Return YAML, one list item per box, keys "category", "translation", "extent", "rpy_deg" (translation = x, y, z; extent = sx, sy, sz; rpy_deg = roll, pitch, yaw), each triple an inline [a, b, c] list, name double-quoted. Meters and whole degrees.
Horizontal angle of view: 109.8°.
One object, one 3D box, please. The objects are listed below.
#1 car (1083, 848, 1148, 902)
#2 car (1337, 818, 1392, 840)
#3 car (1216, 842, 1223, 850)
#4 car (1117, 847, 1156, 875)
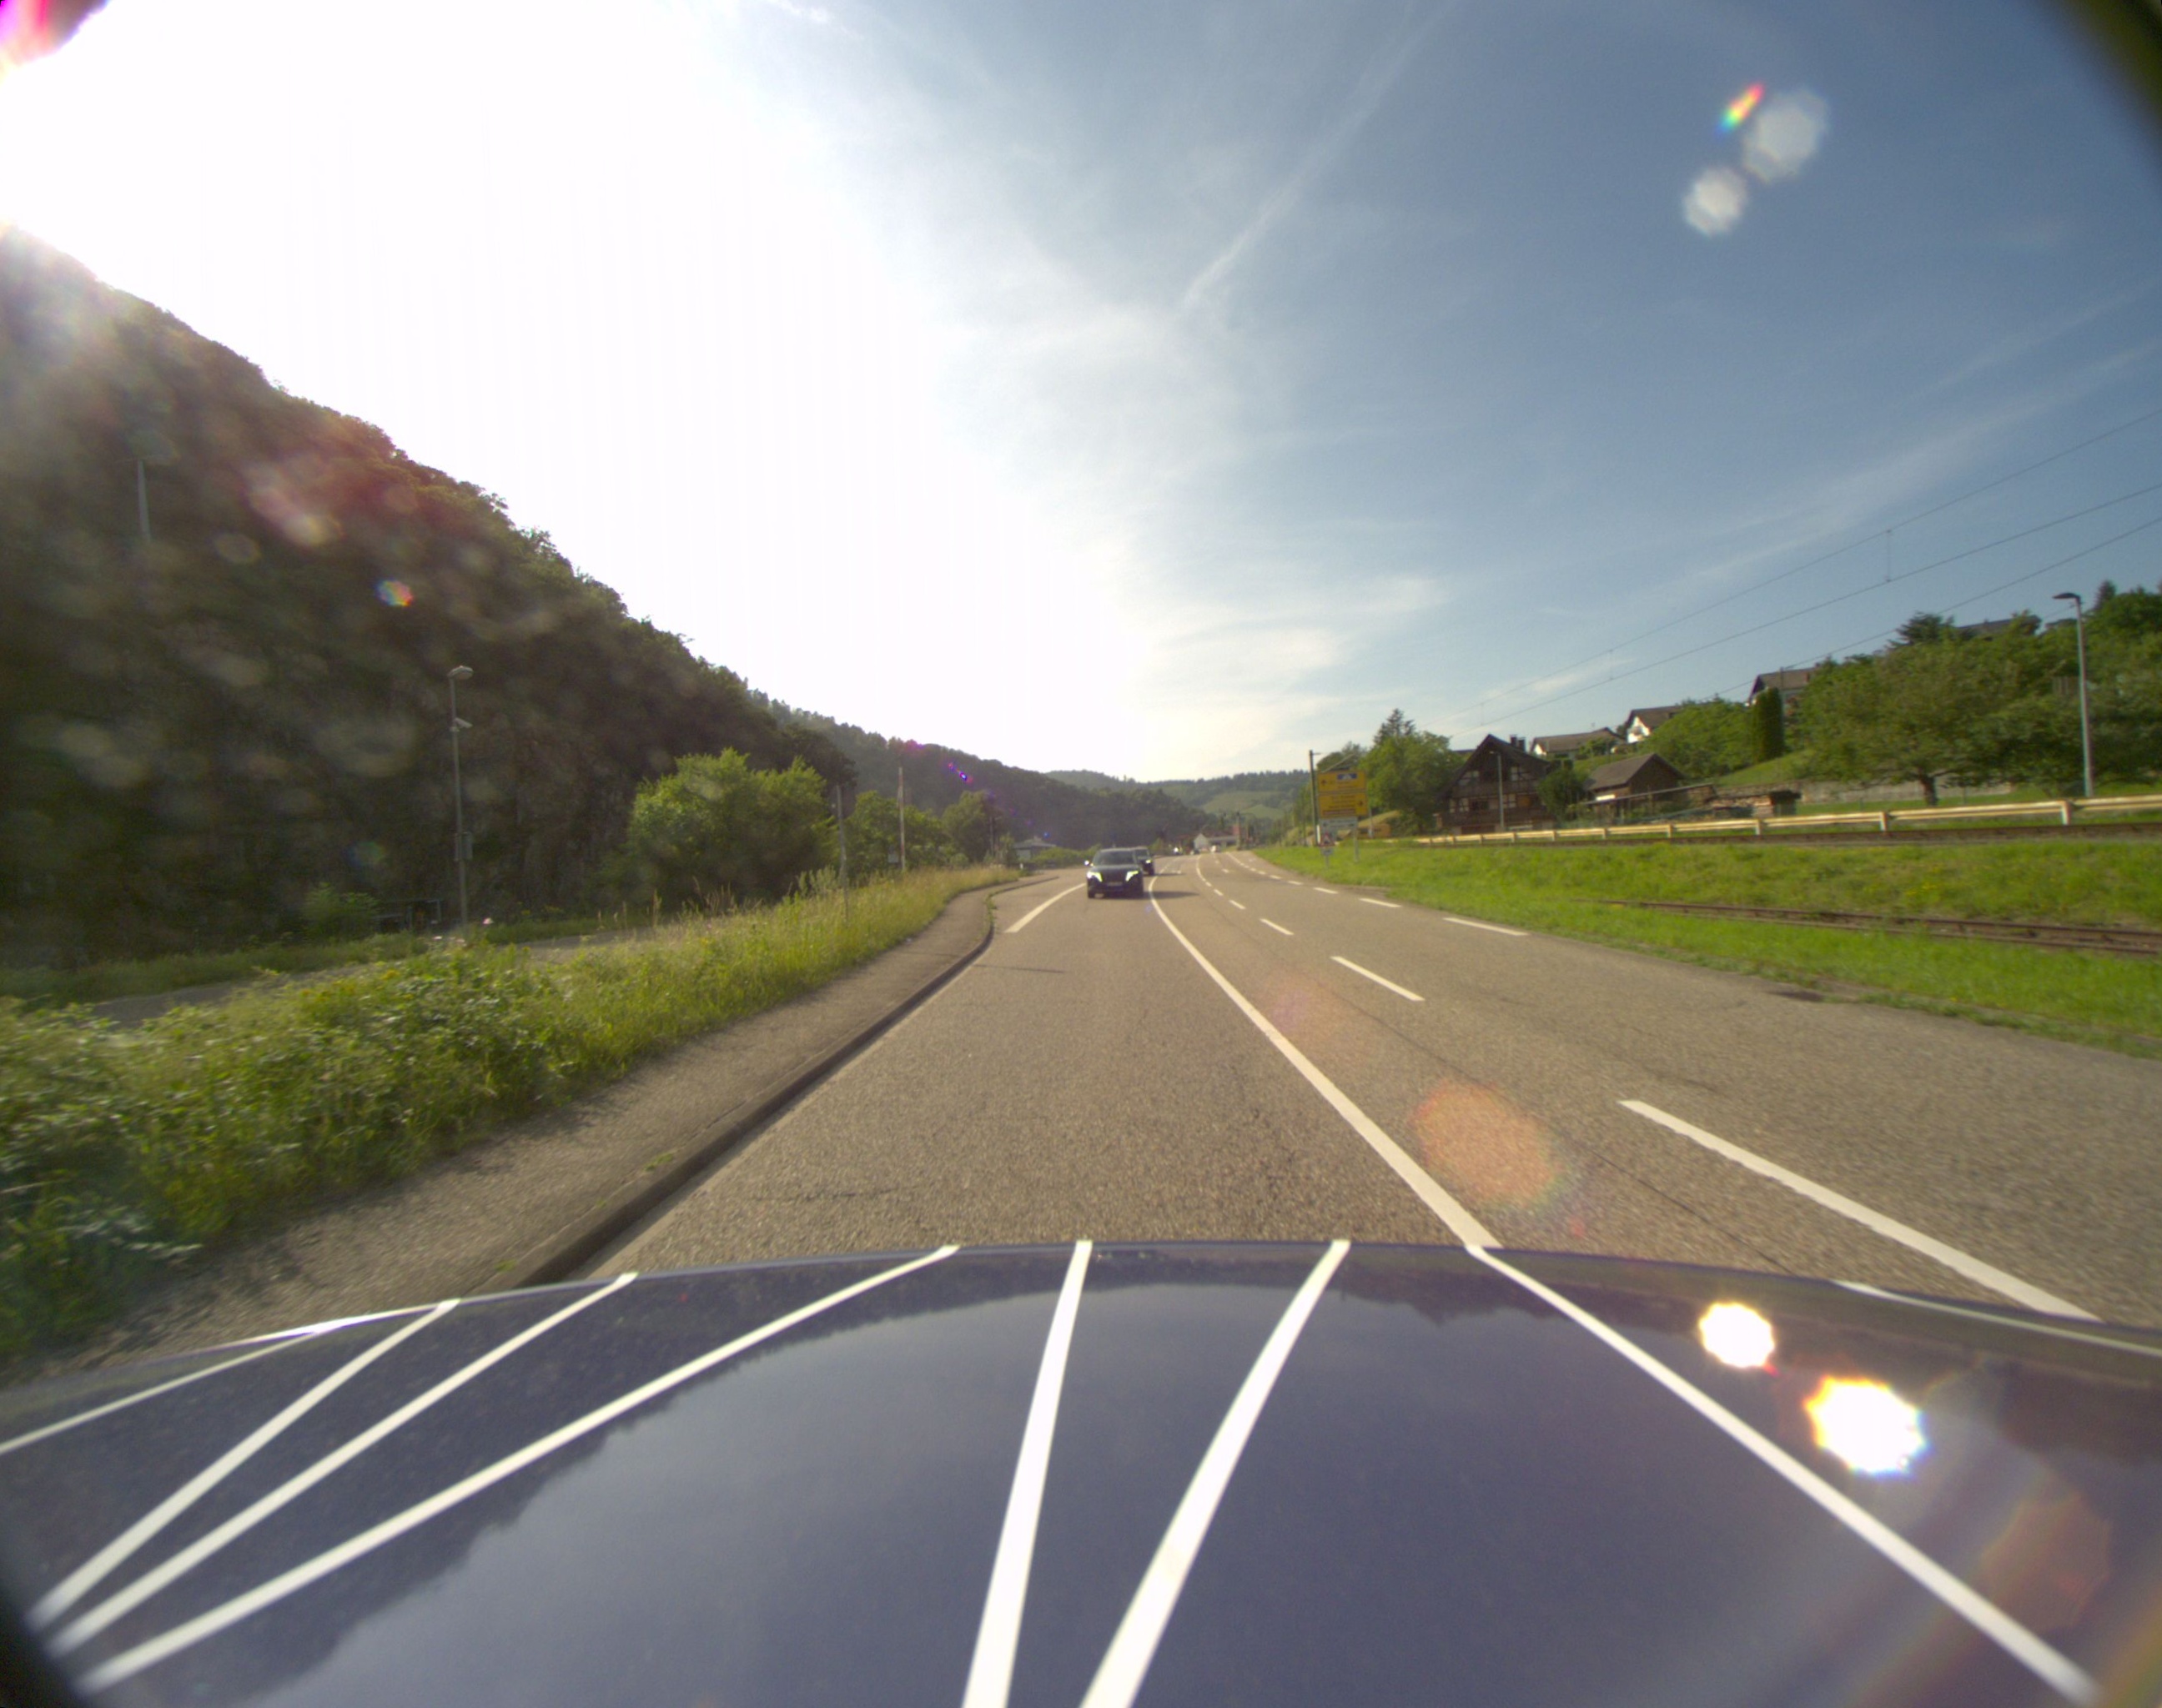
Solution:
- category: "car"
  translation: [1.264, 0.686, 27.153]
  extent: [1.998, 1.661, 5.512]
  rpy_deg: [-3, 0, 3]
- category: "car"
  translation: [40.589, -3.523, 108.854]
  extent: [7.073, 2.442, 2.952]
  rpy_deg: [-5, 0, 20]
- category: "car"
  translation: [44.591, -2.635, 244.687]
  extent: [2.123, 2.422, 5.232]
  rpy_deg: [-5, 0, 12]
- category: "car"
  translation: [3.323, 0.428, 45.929]
  extent: [1.919, 1.455, 4.000]
  rpy_deg: [-5, 0, -1]
